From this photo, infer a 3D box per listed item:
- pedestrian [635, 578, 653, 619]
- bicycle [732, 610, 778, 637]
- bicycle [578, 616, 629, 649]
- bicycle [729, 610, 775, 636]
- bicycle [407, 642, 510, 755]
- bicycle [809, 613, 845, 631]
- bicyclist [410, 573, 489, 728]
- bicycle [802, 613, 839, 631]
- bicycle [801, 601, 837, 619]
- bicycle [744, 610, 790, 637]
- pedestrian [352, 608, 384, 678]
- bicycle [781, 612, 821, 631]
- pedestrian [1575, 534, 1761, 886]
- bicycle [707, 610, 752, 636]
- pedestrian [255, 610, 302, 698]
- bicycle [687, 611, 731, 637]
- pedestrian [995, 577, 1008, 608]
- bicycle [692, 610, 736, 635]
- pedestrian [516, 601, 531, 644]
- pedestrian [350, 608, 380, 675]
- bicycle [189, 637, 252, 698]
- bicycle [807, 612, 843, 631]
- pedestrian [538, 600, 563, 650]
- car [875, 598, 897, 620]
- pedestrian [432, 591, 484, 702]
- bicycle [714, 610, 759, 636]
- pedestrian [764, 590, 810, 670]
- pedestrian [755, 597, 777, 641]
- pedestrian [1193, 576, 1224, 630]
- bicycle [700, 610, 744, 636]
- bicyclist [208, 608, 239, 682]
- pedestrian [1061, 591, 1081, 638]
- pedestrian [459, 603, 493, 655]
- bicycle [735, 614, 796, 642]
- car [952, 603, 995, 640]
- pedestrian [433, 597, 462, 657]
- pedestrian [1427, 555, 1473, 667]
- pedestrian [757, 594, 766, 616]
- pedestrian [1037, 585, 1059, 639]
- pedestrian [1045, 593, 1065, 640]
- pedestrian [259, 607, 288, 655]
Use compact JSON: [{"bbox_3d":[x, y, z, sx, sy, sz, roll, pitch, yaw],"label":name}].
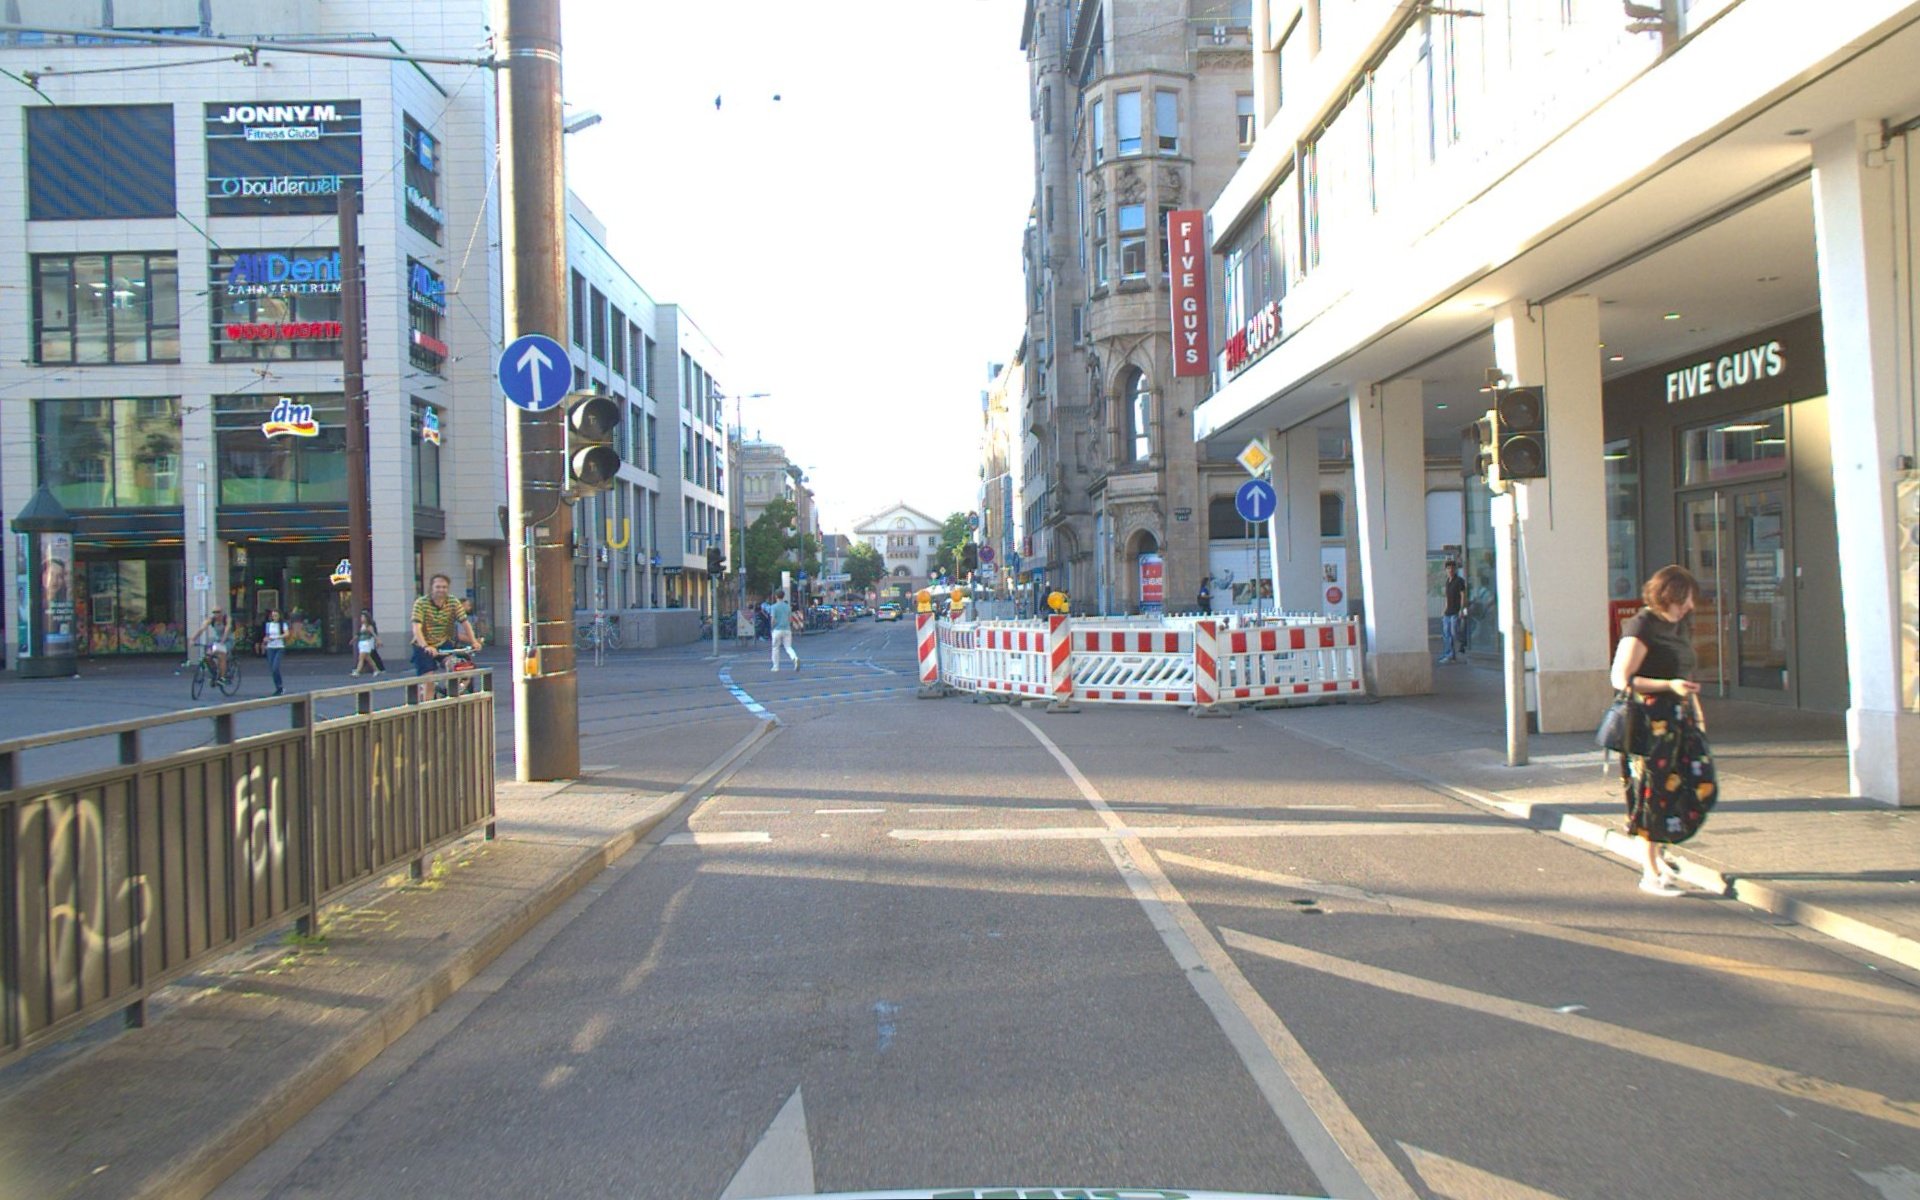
[{"bbox_3d":[-13.078,-0.070,68.444,0.667,1.710,0.600,0,-1,-4],"label":"pedestrian"},{"bbox_3d":[-8.935,1.004,71.986,1.946,1.141,0.552,0,0,-30],"label":"bicycle"},{"bbox_3d":[-12.243,1.117,56.827,1.661,1.141,0.451,0,0,1],"label":"bicycle"},{"bbox_3d":[-9.141,1.008,72.699,1.946,1.141,0.552,0,0,-30],"label":"bicycle"},{"bbox_3d":[-5.398,1.037,17.740,0.622,1.123,1.607,-2,-1,-33],"label":"bicycle"},{"bbox_3d":[-7.955,1.306,99.058,2.104,1.047,0.640,-2,0,1],"label":"bicycle"},{"bbox_3d":[-5.523,0.530,17.888,0.602,1.621,0.783,-1,0,-33],"label":"bicyclist"},{"bbox_3d":[-8.279,1.304,98.259,2.104,1.047,0.640,-2,0,1],"label":"bicycle"},{"bbox_3d":[-8.676,0.615,101.843,2.104,1.047,0.640,-2,0,1],"label":"bicycle"},{"bbox_3d":[-8.319,1.000,71.250,1.946,1.141,0.552,0,0,-30],"label":"bicycle"},{"bbox_3d":[-14.731,1.063,41.167,0.518,1.703,0.650,-1,0,0],"label":"pedestrian"},{"bbox_3d":[-8.673,1.151,90.332,2.104,0.970,0.640,-2,0,1],"label":"bicycle"},{"bbox_3d":[3.585,0.538,8.403,0.686,1.723,0.540,0,-1,-8],"label":"pedestrian"},{"bbox_3d":[-10.355,1.017,74.167,1.946,1.141,0.552,0,0,-30],"label":"bicycle"},{"bbox_3d":[-13.357,1.052,32.412,0.635,1.703,0.530,-1,0,7],"label":"pedestrian"},{"bbox_3d":[-11.582,1.101,76.318,1.946,1.141,0.552,0,0,-30],"label":"bicycle"},{"bbox_3d":[2.305,-0.403,91.931,0.631,1.719,0.671,-2,0,-3],"label":"pedestrian"},{"bbox_3d":[-11.216,1.024,75.380,1.946,1.141,0.552,0,0,-30],"label":"bicycle"},{"bbox_3d":[-15.536,0.794,58.860,0.382,1.541,0.505,-1,0,-2],"label":"pedestrian"},{"bbox_3d":[-15.504,1.068,43.094,0.518,1.703,0.650,-1,0,0],"label":"pedestrian"},{"bbox_3d":[-14.577,1.308,32.634,0.562,1.117,2.019,0,0,-7],"label":"bicycle"},{"bbox_3d":[-8.131,1.309,99.786,2.104,1.047,0.640,-2,0,1],"label":"bicycle"},{"bbox_3d":[-14.695,0.898,59.338,0.766,1.782,0.600,0,-1,-4],"label":"pedestrian"},{"bbox_3d":[-6.846,0.829,153.604,1.953,1.937,3.999,0,0,-1],"label":"car"},{"bbox_3d":[-8.027,0.725,26.423,0.733,1.730,0.607,-1,0,-20],"label":"pedestrian"},{"bbox_3d":[-9.947,1.013,73.535,1.946,1.141,0.552,0,0,-30],"label":"bicycle"},{"bbox_3d":[-3.920,0.673,37.553,0.847,1.792,0.768,0,-1,11],"label":"pedestrian"},{"bbox_3d":[-7.804,0.765,66.675,0.819,1.751,0.680,-1,0,-9],"label":"pedestrian"},{"bbox_3d":[7.525,0.090,50.099,0.803,1.639,0.713,0,0,-2],"label":"pedestrian"},{"bbox_3d":[-10.758,1.020,74.786,1.946,1.141,0.552,0,0,-30],"label":"bicycle"},{"bbox_3d":[-14.558,0.880,32.691,0.412,1.452,0.563,0,0,-7],"label":"bicyclist"},{"bbox_3d":[4.163,0.537,62.002,0.612,1.719,0.626,-2,0,-3],"label":"pedestrian"},{"bbox_3d":[-15.740,0.928,53.764,0.750,1.688,0.817,0,0,13],"label":"pedestrian"},{"bbox_3d":[-9.587,1.361,81.598,2.853,1.277,0.797,-2,0,-28],"label":"bicycle"},{"bbox_3d":[0.532,0.863,67.967,1.645,1.449,3.672,0,0,-1],"label":"car"},{"bbox_3d":[-16.284,0.860,52.599,0.560,1.887,0.817,0,0,11],"label":"pedestrian"},{"bbox_3d":[9.097,0.206,30.707,0.694,2.049,0.469,-1,-1,41],"label":"pedestrian"},{"bbox_3d":[-15.331,0.406,127.774,0.666,1.649,0.573,-2,0,-2],"label":"pedestrian"},{"bbox_3d":[2.862,0.389,53.868,0.612,1.719,0.671,-2,0,-3],"label":"pedestrian"},{"bbox_3d":[3.538,0.593,61.555,0.612,1.719,0.671,-2,0,-3],"label":"pedestrian"},{"bbox_3d":[-22.726,1.019,54.748,0.560,1.553,0.791,0,0,11],"label":"pedestrian"}]
